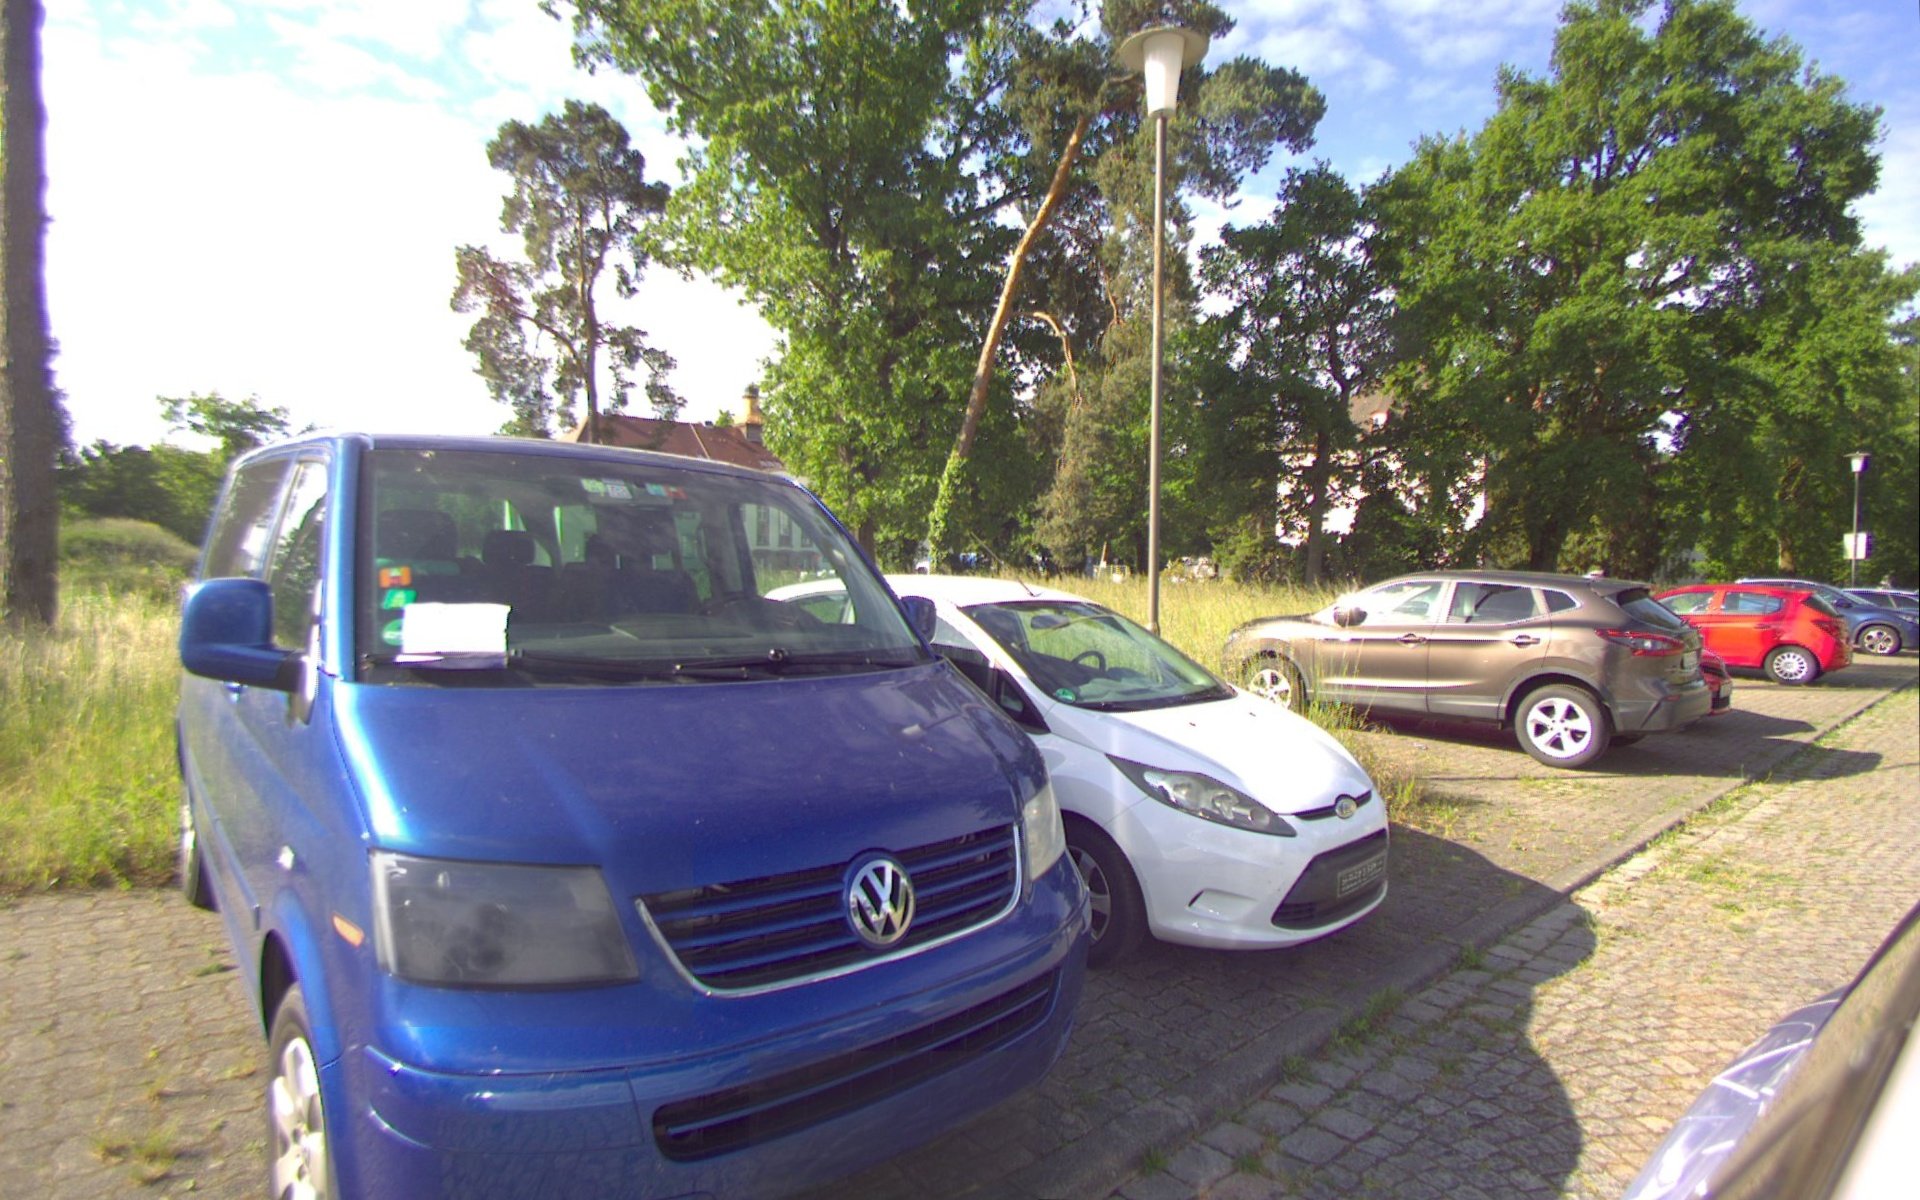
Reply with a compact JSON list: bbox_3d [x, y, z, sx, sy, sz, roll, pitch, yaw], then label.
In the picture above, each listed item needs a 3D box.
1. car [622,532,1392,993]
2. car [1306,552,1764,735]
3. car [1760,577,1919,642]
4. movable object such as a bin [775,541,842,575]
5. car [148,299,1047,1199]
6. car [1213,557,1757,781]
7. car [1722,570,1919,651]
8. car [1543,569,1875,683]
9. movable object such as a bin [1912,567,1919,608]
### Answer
[{"bbox_3d":[-0.128,0.454,5.847,1.906,1.596,4.406,-1,4,-41],"label":"car"},{"bbox_3d":[6.482,0.321,11.772,1.903,1.617,4.231,-2,5,-44],"label":"car"},{"bbox_3d":[23.437,0.231,26.124,1.754,1.440,4.094,0,3,-42],"label":"car"},{"bbox_3d":[-15.681,-4.311,104.906,6.336,3.342,2.863,-1,0,6],"label":"movable object such as a bin"},{"bbox_3d":[-2.032,0.296,4.262,1.966,1.959,4.708,-1,4,-41],"label":"car"},{"bbox_3d":[4.780,0.428,9.679,1.903,1.617,4.230,-2,3,-44],"label":"car"},{"bbox_3d":[20.064,0.204,22.992,1.821,1.576,4.094,0,3,-42],"label":"car"},{"bbox_3d":[12.210,0.328,16.702,1.821,1.477,4.094,0,3,-42],"label":"car"},{"bbox_3d":[49.989,-0.593,49.284,1.959,2.039,4.881,0,1,-28],"label":"movable object such as a bin"}]
